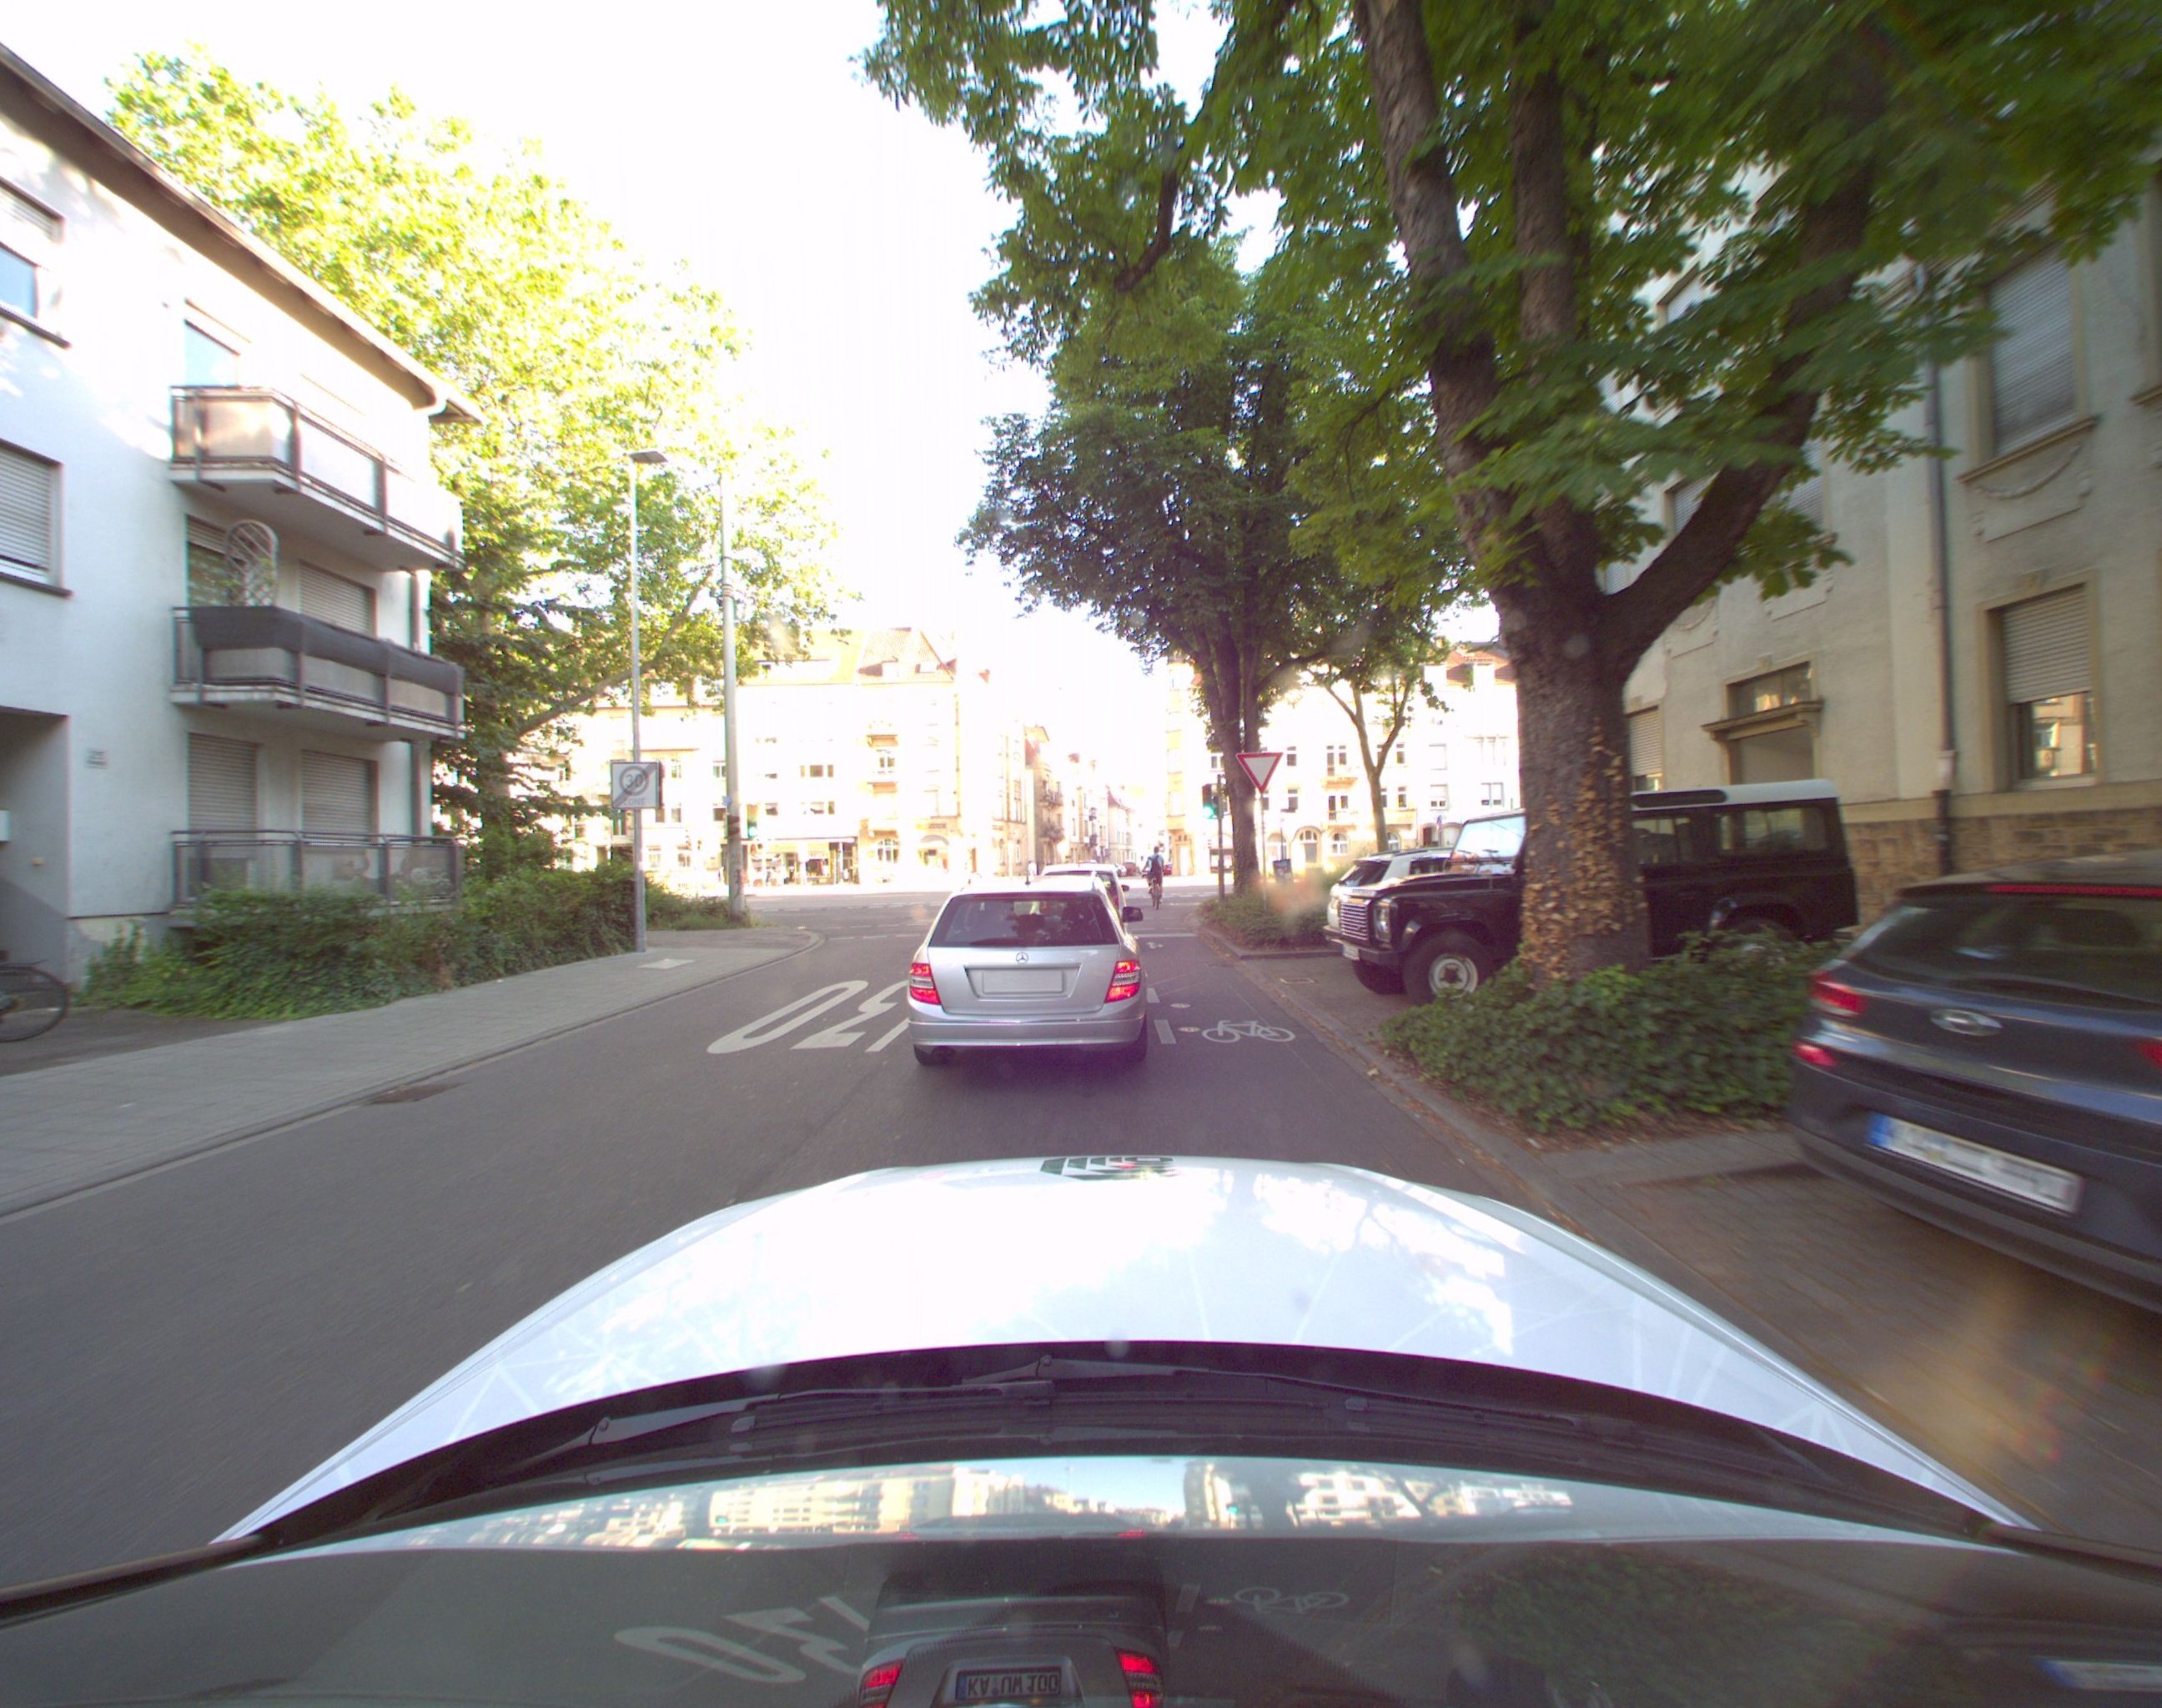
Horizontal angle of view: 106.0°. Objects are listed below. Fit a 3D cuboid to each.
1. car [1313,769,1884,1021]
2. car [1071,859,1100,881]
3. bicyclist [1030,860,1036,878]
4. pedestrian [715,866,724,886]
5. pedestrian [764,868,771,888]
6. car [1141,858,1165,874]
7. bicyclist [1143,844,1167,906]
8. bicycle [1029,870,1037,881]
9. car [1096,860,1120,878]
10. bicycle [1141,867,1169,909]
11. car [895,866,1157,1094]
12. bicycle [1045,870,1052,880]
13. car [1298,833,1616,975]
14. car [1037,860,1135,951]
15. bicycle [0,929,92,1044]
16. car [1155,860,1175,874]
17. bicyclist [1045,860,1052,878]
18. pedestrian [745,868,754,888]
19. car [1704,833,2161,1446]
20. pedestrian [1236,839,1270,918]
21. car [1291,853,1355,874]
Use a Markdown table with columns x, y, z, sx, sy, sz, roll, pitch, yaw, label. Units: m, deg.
| x | y | z | sx | sy | sz | roll | pitch | yaw | label |
| --- | --- | --- | --- | --- | --- | --- | --- | --- | --- |
| 4.854 | 0.362 | 8.121 | 4.477 | 1.956 | 1.792 | -4 | -1 | -1 | car |
| 0.448 | 1.504 | 76.546 | 1.925 | 1.959 | 4.162 | -2 | 0 | 11 | car |
| -4.004 | 1.266 | 67.942 | 0.465 | 1.514 | 0.655 | -2 | -1 | -1 | bicyclist |
| -27.546 | 1.677 | 62.074 | 0.566 | 1.511 | 0.499 | -1 | -1 | -17 | pedestrian |
| -24.295 | 1.829 | 63.065 | 0.474 | 1.511 | 0.428 | -1 | -1 | -17 | pedestrian |
| 7.472 | 1.210 | 83.799 | 1.708 | 1.478 | 4.016 | -4 | 0 | 15 | car |
| 2.158 | 0.609 | 23.878 | 0.644 | 1.775 | 0.831 | -1 | -1 | 2 | bicyclist |
| -3.985 | 1.777 | 67.971 | 0.567 | 0.834 | 1.565 | -2 | 0 | -1 | bicycle |
| 2.816 | 1.543 | 85.279 | 1.675 | 1.722 | 4.014 | -2 | 0 | 13 | car |
| 2.150 | 0.972 | 23.849 | 0.739 | 1.118 | 2.014 | -1 | 0 | 2 | bicycle |
| -0.354 | 0.838 | 7.022 | 1.685 | 1.429 | 3.492 | 0 | 0 | 0 | car |
| -2.722 | 1.742 | 68.521 | 0.567 | 0.834 | 1.565 | -2 | 0 | -1 | bicycle |
| 4.954 | 0.618 | 11.027 | 3.474 | 1.586 | 1.708 | -3 | 0 | -4 | car |
| 0.109 | 0.825 | 14.677 | 1.528 | 1.391 | 3.600 | -1 | 0 | 1 | car |
| -9.951 | 1.192 | 7.185 | 1.469 | 0.975 | 0.402 | 1 | -2 | -38 | bicycle |
| 10.377 | 1.626 | 99.916 | 1.708 | 1.478 | 4.016 | -6 | -1 | 15 | car |
| -2.731 | 1.235 | 68.535 | 0.465 | 1.521 | 0.694 | -2 | -1 | -1 | bicyclist |
| -25.715 | 1.866 | 63.177 | 0.507 | 1.511 | 0.536 | -2 | -1 | -4 | pedestrian |
| 4.414 | 0.607 | 2.480 | 3.738 | 1.422 | 1.628 | -3 | -1 | -1 | car |
| 4.085 | 0.569 | 19.354 | 0.630 | 1.845 | 0.574 | -1 | -1 | -2 | pedestrian |
| 14.014 | 0.554 | 47.268 | 3.352 | 1.069 | 1.381 | -2 | 0 | 1 | car |
